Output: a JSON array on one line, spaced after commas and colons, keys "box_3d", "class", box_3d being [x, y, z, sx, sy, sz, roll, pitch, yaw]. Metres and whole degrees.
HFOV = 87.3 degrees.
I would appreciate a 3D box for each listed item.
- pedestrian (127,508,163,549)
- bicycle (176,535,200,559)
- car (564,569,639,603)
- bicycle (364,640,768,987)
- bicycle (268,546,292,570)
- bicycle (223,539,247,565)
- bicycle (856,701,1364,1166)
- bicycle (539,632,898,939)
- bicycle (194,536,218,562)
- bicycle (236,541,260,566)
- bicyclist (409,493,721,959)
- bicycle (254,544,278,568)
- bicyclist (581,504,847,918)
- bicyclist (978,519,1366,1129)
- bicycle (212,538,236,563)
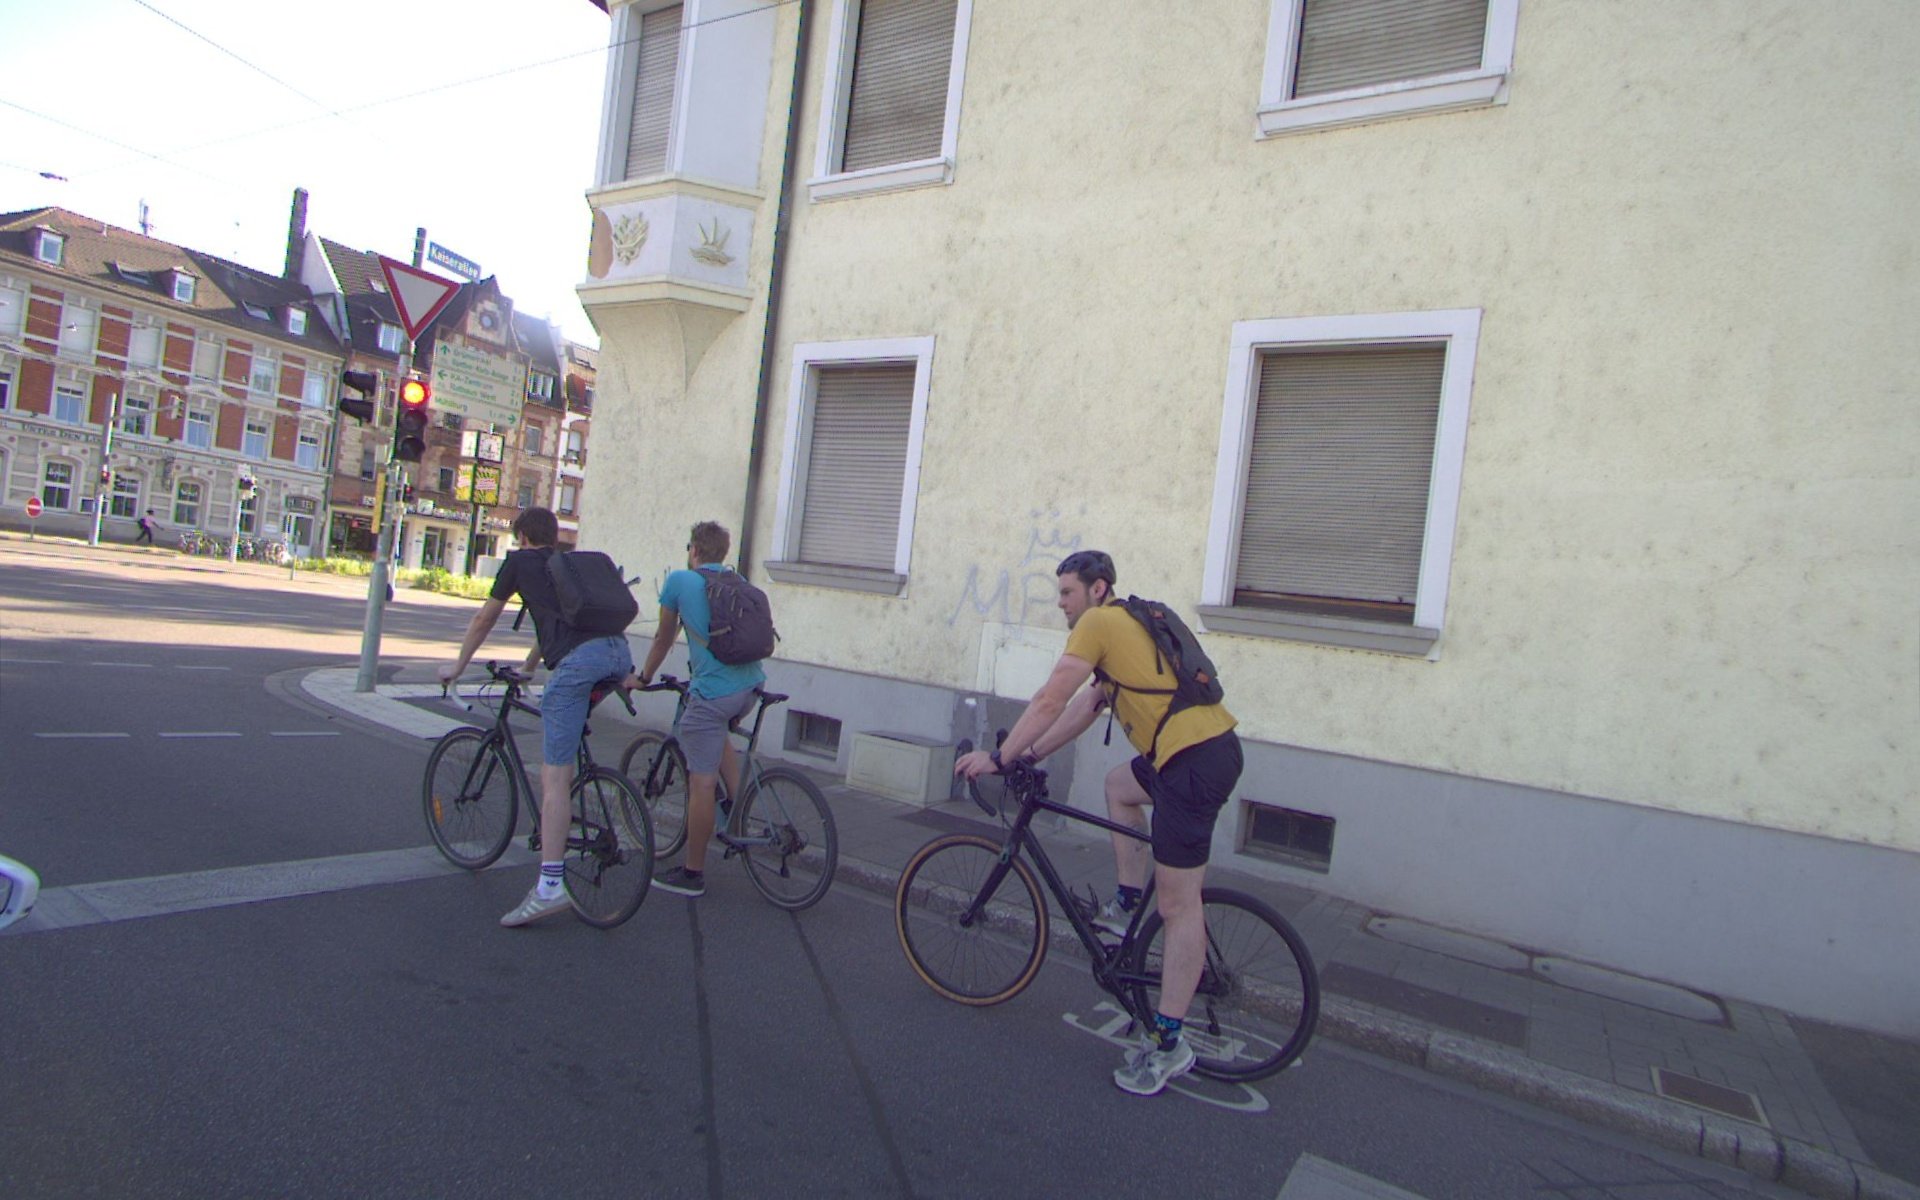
[{"box_3d": [-38.118, -3.325, 47.067, 0.620, 1.731, 1.035, 6, -1, 40], "class": "pedestrian"}, {"box_3d": [-35.065, -2.416, 45.663, 1.759, 0.925, 0.485, 7, 0, 42], "class": "bicycle"}, {"box_3d": [-23.193, -0.886, 65.239, 1.966, 1.641, 4.261, 7, -1, 29], "class": "car"}, {"box_3d": [-1.800, 0.836, 4.465, 1.858, 1.071, 0.571, 7, 0, 32], "class": "bicycle"}, {"box_3d": [-33.092, -2.059, 48.976, 1.759, 1.033, 0.485, 7, 0, 42], "class": "bicycle"}, {"box_3d": [-34.002, -2.252, 47.168, 1.759, 1.033, 0.485, 7, 0, 42], "class": "bicycle"}, {"box_3d": [0.512, 1.092, 3.770, 1.670, 1.180, 0.571, 7, 0, 32], "class": "bicycle"}, {"box_3d": [-1.311, 0.879, 5.278, 1.858, 1.180, 0.571, 7, 0, 32], "class": "bicycle"}, {"box_3d": [-34.640, -2.342, 46.199, 1.759, 1.033, 0.485, 7, 0, 42], "class": "bicycle"}, {"box_3d": [-33.674, -2.193, 47.560, 1.759, 1.033, 0.485, 7, 0, 42], "class": "bicycle"}, {"box_3d": [-1.751, 0.493, 4.467, 0.978, 1.788, 0.652, 7, 0, 32], "class": "bicyclist"}, {"box_3d": [-33.311, -2.116, 48.288, 1.759, 1.033, 0.485, 7, 0, 42], "class": "bicycle"}, {"box_3d": [-1.287, 0.526, 5.268, 0.978, 1.910, 0.652, 7, 0, 32], "class": "bicyclist"}, {"box_3d": [0.771, 0.698, 3.653, 1.019, 1.839, 0.652, 7, 0, 32], "class": "bicyclist"}, {"box_3d": [-34.189, -2.293, 46.745, 1.759, 1.033, 0.485, 7, 0, 42], "class": "bicycle"}]
